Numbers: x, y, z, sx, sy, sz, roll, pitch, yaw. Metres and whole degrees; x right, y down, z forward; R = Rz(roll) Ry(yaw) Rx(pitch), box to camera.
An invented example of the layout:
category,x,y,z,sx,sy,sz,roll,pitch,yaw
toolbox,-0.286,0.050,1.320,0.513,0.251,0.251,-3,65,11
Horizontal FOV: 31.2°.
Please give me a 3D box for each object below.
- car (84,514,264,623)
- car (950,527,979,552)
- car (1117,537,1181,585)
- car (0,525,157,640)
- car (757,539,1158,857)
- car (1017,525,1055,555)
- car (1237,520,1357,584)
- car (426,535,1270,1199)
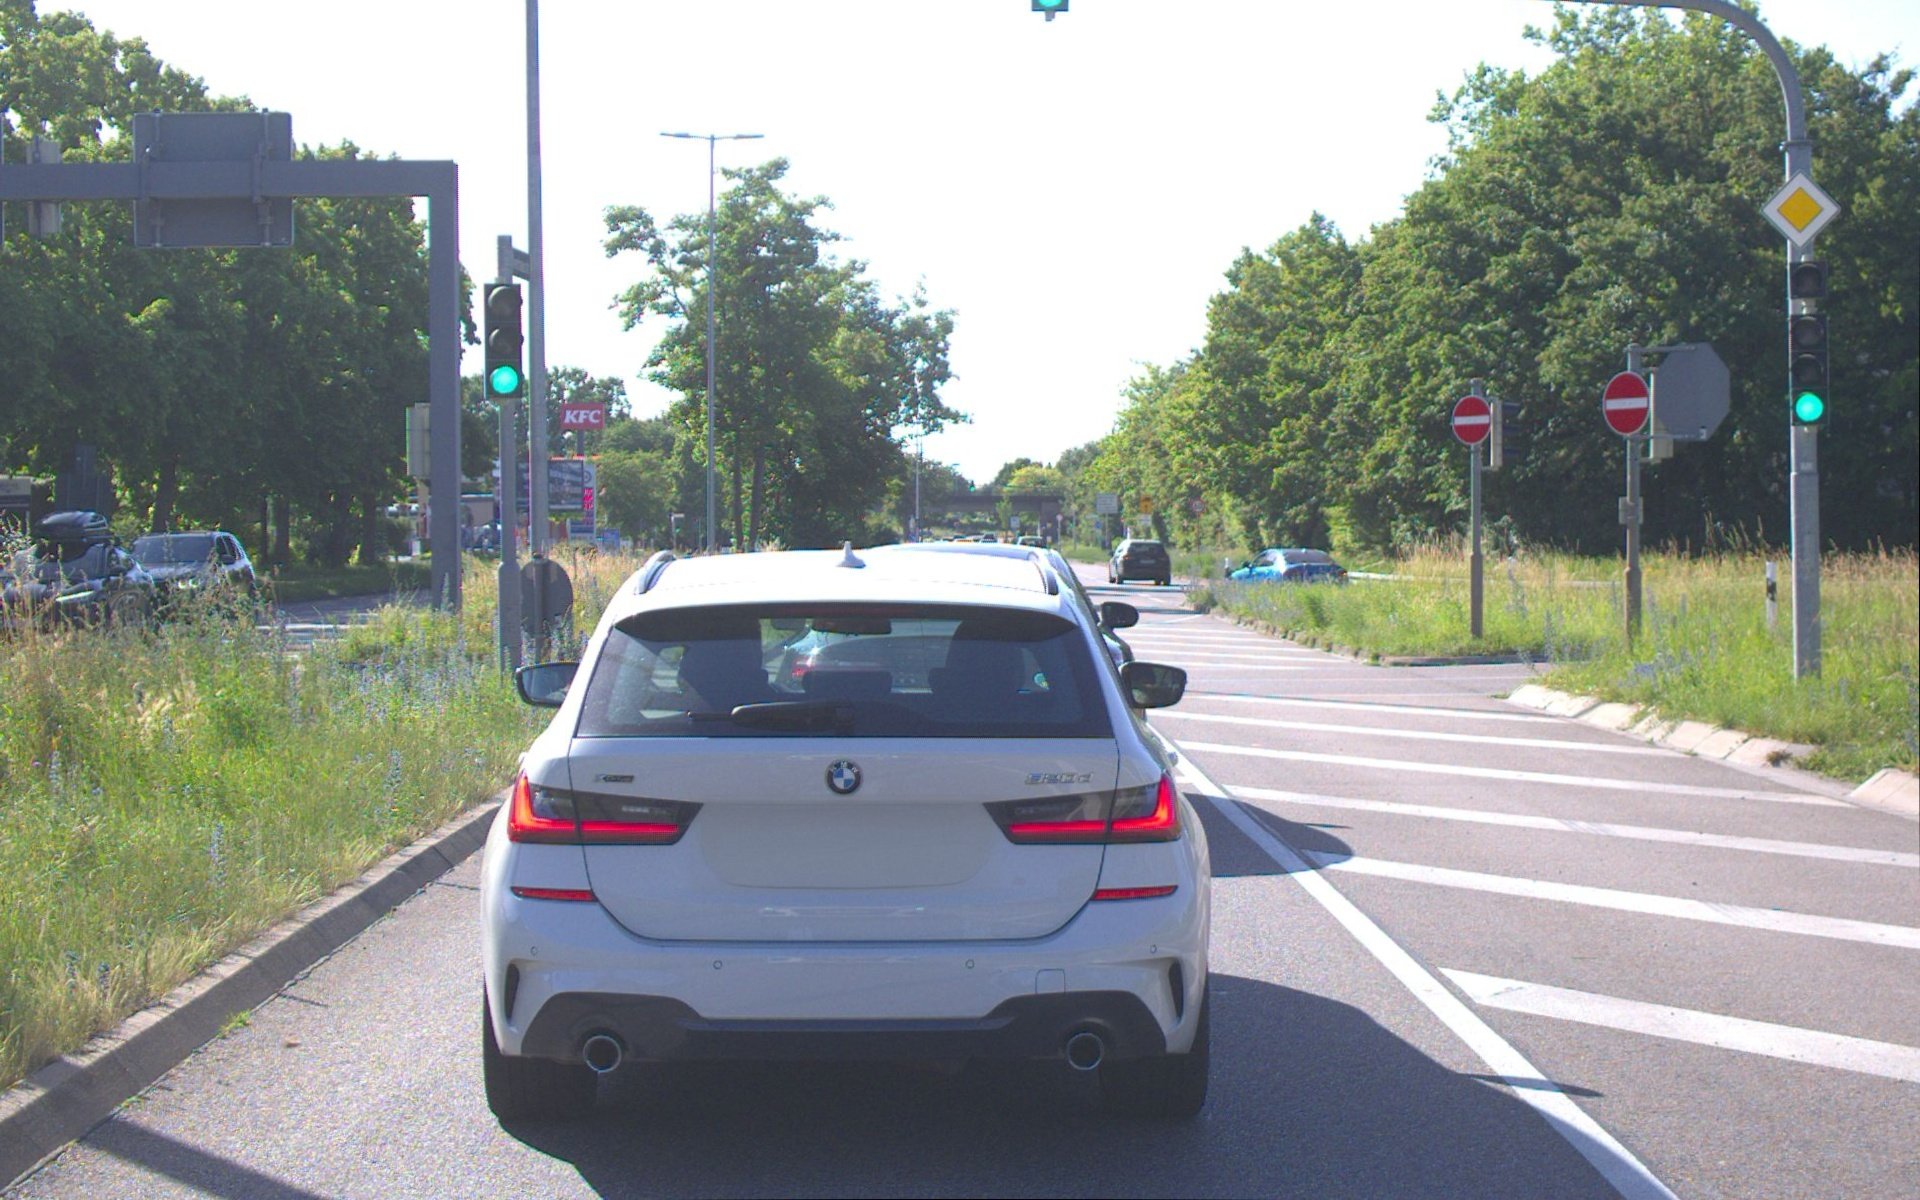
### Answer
category,x,y,z,sx,sy,sz,roll,pitch,yaw
car,-13.184,-0.571,57.942,1.942,1.691,4.630,-2,2,0
car,0.286,-3.990,225.565,1.861,1.560,4.548,-1,1,0
car,6.229,-1.305,113.816,1.771,1.550,3.833,-1,1,-2
car,-13.015,-0.278,49.330,1.876,1.537,4.573,-2,1,0
car,-0.028,0.417,18.329,1.861,1.450,4.548,-1,1,0
car,4.025,-3.193,182.040,1.861,1.560,4.548,-1,1,0
car,8.060,-1.162,82.543,1.861,1.494,4.338,0,1,-8
car,-0.243,0.557,9.917,1.861,1.450,4.548,-1,1,0
